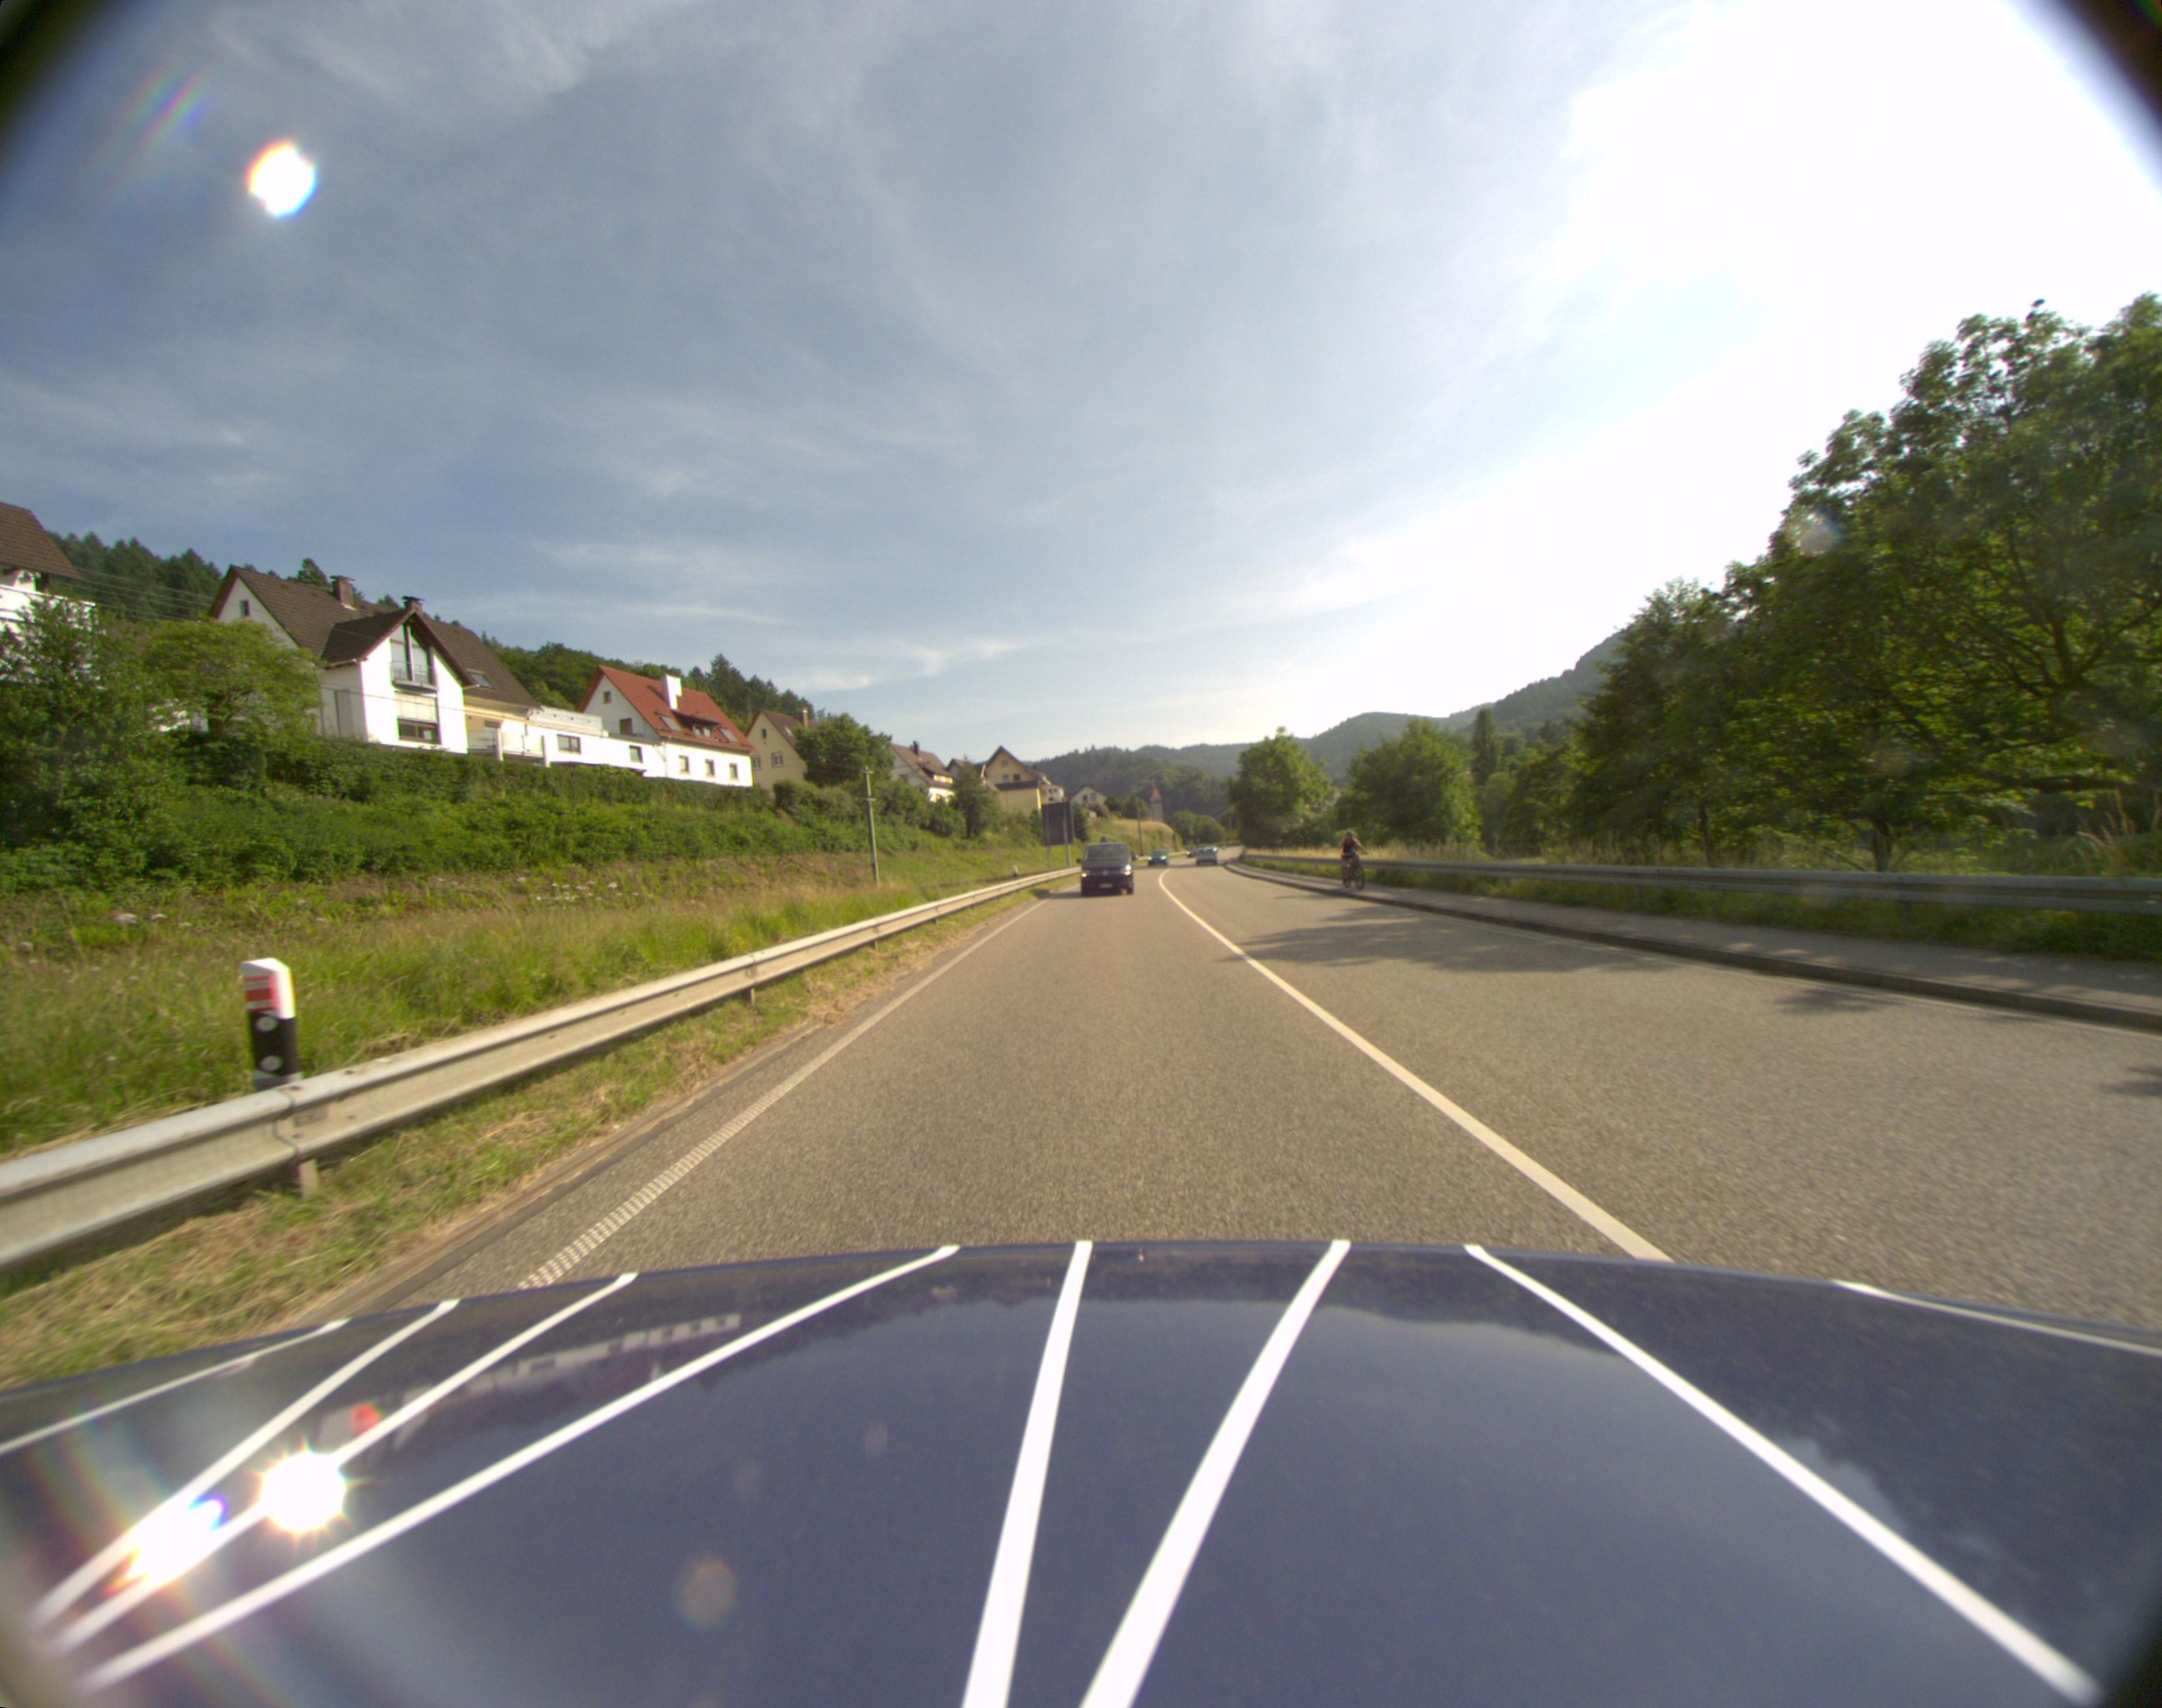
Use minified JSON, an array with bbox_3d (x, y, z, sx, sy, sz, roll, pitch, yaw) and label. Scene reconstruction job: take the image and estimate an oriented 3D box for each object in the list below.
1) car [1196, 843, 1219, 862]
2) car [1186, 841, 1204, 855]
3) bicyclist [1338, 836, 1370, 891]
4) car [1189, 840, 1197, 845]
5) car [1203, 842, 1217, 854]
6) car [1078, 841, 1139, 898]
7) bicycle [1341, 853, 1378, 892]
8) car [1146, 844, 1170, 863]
[{"bbox_3d":[11.590,-0.157,69.958,1.997,1.620,4.002,-2,1,9],"label":"car"},{"bbox_3d":[15.405,-0.810,102.368,1.883,1.735,4.183,-3,0,15],"label":"car"},{"bbox_3d":[8.377,0.287,23.341,0.558,1.577,1.036,-7,0,9],"label":"bicyclist"},{"bbox_3d":[36.731,-3.883,249.651,1.582,1.470,3.999,-2,0,-3],"label":"car"},{"bbox_3d":[20.644,-0.990,121.424,1.883,1.735,4.182,-3,0,14],"label":"car"},{"bbox_3d":[1.013,0.544,28.686,2.018,1.905,4.312,-3,0,1],"label":"car"},{"bbox_3d":[8.458,0.535,23.184,0.558,1.039,2.231,-7,-1,10],"label":"bicycle"},{"bbox_3d":[7.582,-0.070,74.407,1.883,1.735,4.182,-2,0,12],"label":"car"}]
